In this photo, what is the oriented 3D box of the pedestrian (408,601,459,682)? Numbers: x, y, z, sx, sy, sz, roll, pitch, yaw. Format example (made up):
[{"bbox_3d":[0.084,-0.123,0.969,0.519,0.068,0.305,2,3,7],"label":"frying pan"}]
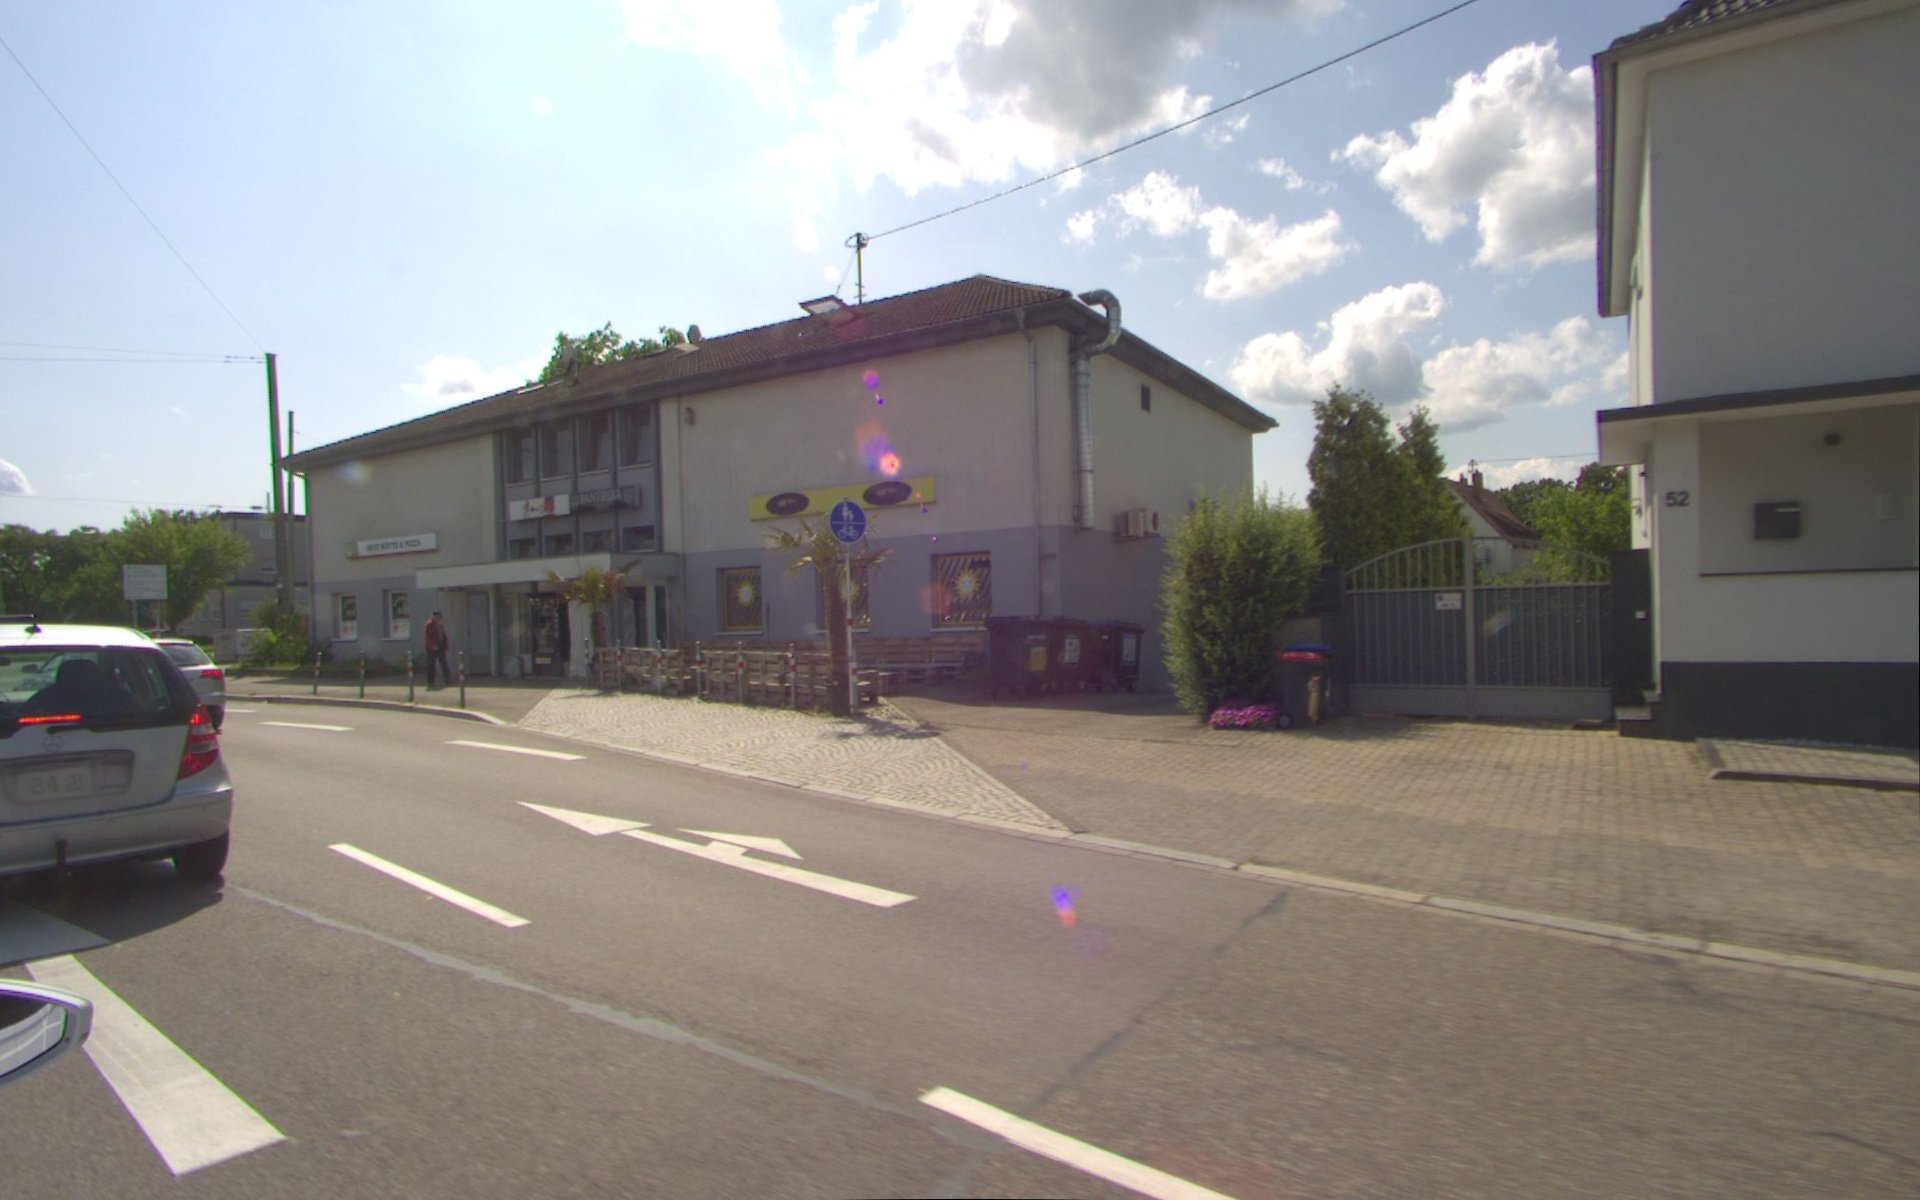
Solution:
[{"bbox_3d":[-12.219,0.946,23.250,0.693,1.807,0.719,-1,3,35],"label":"pedestrian"}]

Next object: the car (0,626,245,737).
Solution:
[{"bbox_3d":[-13.378,1.191,15.882,4.473,1.512,1.850,-1,-1,34],"label":"car"}]

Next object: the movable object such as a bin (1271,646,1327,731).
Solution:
[{"bbox_3d":[3.853,0.992,11.372,0.537,0.907,0.444,-1,1,28],"label":"movable object such as a bin"}]

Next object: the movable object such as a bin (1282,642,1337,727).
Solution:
[{"bbox_3d":[4.120,0.982,11.798,0.541,0.947,0.440,-1,1,28],"label":"movable object such as a bin"}]

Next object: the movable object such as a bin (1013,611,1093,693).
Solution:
[{"bbox_3d":[1.652,0.885,17.718,0.876,1.351,1.199,2,2,41],"label":"movable object such as a bin"}]

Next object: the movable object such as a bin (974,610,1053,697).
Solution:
[{"bbox_3d":[0.890,0.858,16.565,0.874,1.351,1.079,2,2,34],"label":"movable object such as a bin"}]

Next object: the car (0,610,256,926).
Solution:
[{"bbox_3d":[-6.304,0.897,6.544,4.045,1.597,1.779,-1,0,40],"label":"car"}]
